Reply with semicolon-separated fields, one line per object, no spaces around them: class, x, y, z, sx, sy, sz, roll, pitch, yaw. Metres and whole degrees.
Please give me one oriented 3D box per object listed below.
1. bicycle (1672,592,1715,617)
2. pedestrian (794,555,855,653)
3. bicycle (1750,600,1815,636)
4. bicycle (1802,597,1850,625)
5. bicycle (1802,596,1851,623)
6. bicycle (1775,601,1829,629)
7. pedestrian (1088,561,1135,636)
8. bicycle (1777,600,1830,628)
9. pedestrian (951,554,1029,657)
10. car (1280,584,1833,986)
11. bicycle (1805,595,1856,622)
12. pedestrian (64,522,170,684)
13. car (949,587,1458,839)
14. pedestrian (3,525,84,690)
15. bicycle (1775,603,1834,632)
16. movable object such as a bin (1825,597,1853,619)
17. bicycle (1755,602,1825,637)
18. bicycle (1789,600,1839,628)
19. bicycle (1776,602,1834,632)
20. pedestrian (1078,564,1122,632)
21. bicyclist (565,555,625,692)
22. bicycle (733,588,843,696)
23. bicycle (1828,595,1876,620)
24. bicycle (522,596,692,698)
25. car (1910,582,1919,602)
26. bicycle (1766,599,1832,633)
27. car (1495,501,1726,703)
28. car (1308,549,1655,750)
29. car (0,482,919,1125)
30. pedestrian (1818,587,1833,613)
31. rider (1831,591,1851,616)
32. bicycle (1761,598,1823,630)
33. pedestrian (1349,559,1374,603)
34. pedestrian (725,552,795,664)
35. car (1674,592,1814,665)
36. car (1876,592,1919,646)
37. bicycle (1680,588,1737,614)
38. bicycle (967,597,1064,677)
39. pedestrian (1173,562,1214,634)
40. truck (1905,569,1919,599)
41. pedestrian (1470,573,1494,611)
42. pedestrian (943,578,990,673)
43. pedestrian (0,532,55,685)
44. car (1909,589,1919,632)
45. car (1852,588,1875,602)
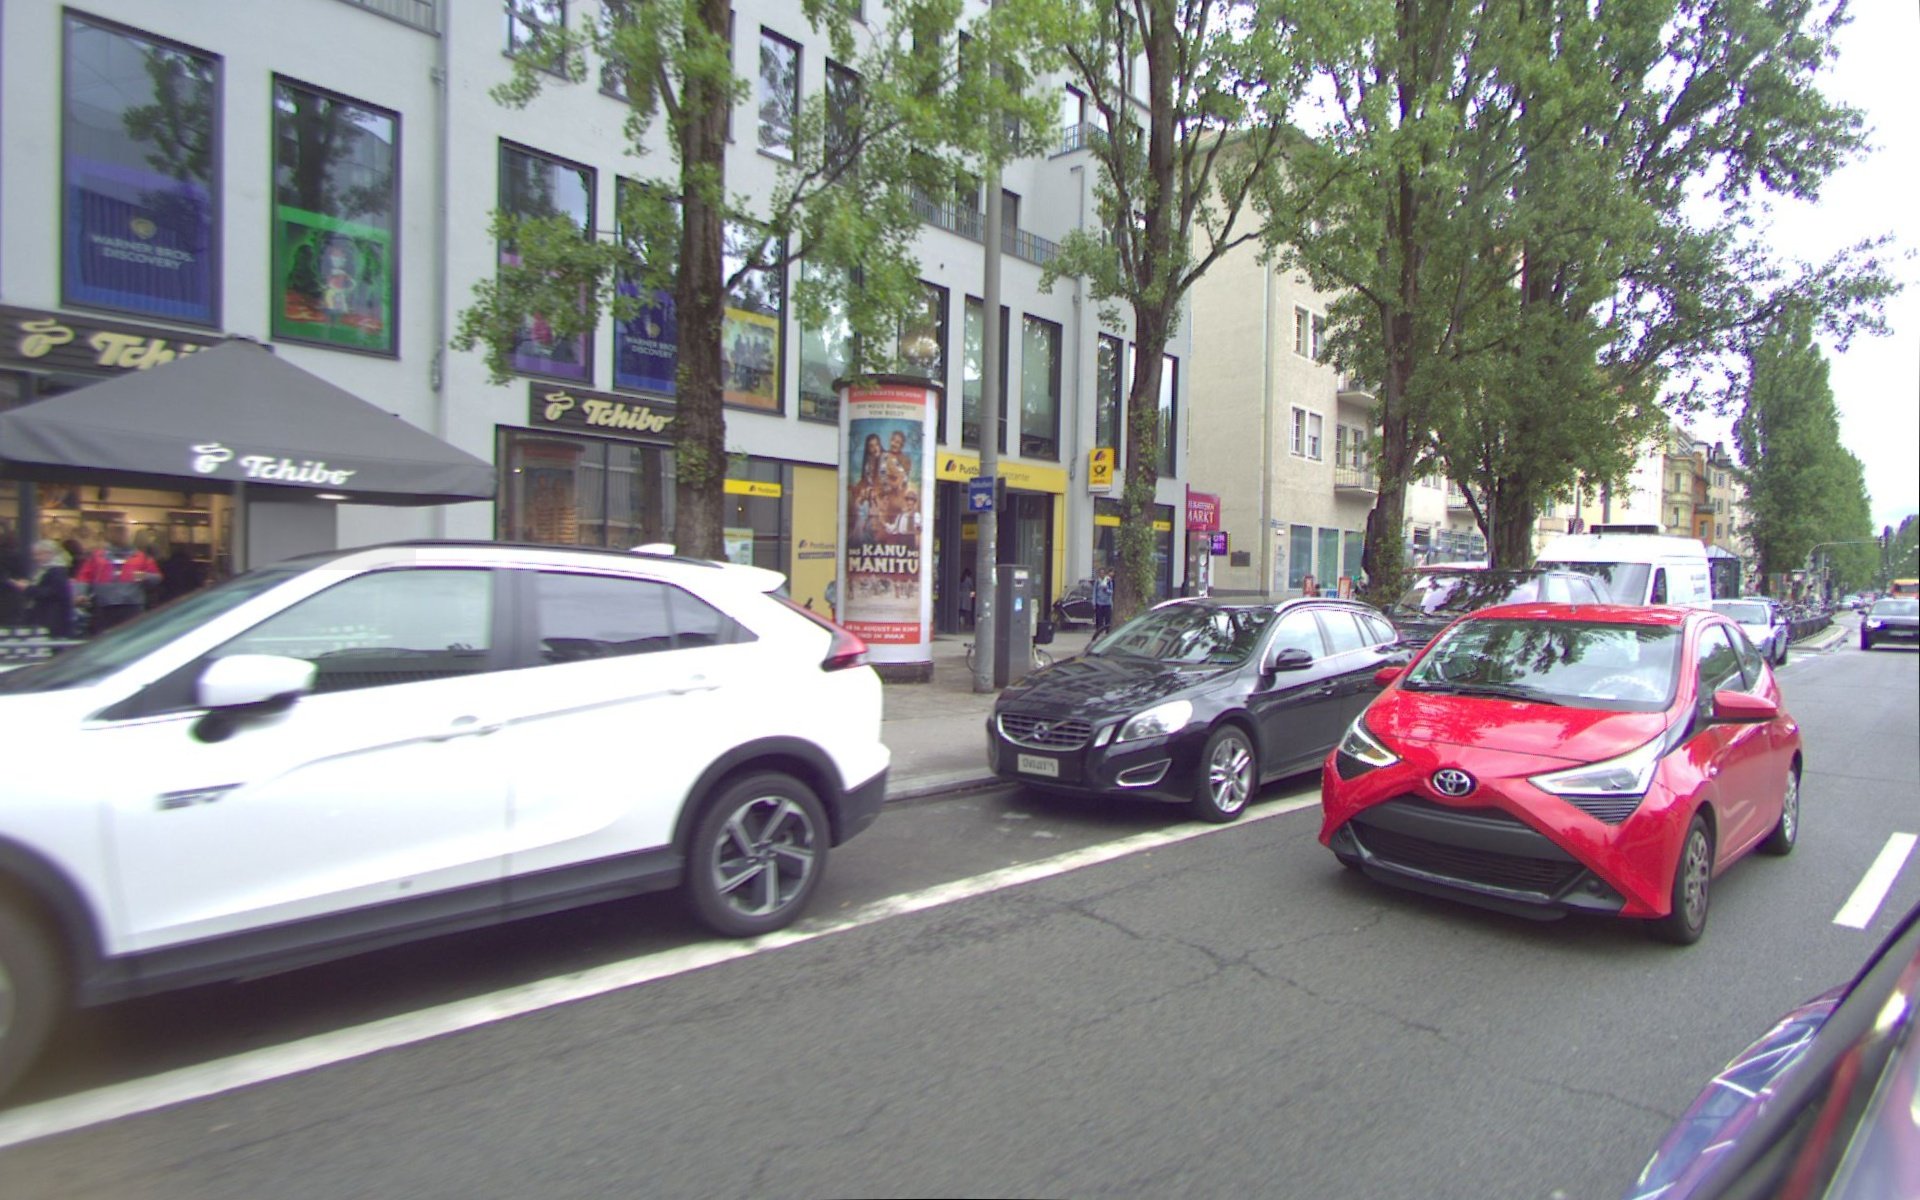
bicycle;34.286;0.227;47.311;1.726;1.091;0.411;2;2;-5
pedestrian;-2.281;0.053;17.000;0.738;1.577;0.683;0;2;-44
bicycle;24.920;0.549;30.694;0.535;1.068;1.577;0;-2;-8
bicycle;37.369;0.444;43.681;0.480;1.151;1.796;0;1;-2
bicycle;38.762;0.405;45.276;0.479;1.151;1.798;0;1;-7
bicycle;32.458;0.587;39.026;0.378;1.024;1.803;0;-2;-7
pedestrian;3.484;-0.038;23.283;0.691;1.669;0.785;3;2;44
bicycle;33.409;0.561;40.098;0.389;1.073;1.803;0;-2;-7
pedestrian;0.505;0.073;16.920;1.006;1.657;0.800;0;2;-44
car;3.435;0.657;5.567;3.535;1.464;1.667;-1;1;-42
bicycle;39.711;0.383;46.185;0.578;1.151;1.799;0;1;-10
pedestrian;-9.422;0.019;11.341;0.753;1.746;0.671;1;2;-25
car;2.153;0.637;8.030;4.494;1.451;1.773;0;0;-43
pedestrian;-9.121;0.061;10.087;0.559;1.586;0.492;0;2;-38
bicycle;30.087;0.638;36.070;0.378;1.024;1.803;0;-2;-7
movable object such as a bin;48.103;0.424;55.370;1.086;1.075;0.736;5;4;42
bicycle;26.168;0.614;31.940;0.535;1.068;1.803;0;-2;-8
bicycle;33.939;0.556;40.250;0.390;1.073;1.852;0;-2;-1
bicycle;30.467;0.627;36.531;0.378;1.024;1.803;0;-2;-7
pedestrian;3.371;-0.062;24.394;0.691;1.604;0.760;3;2;44
bicyclist;-4.049;0.239;11.212;0.432;1.466;0.640;0;2;-39
bicycle;-2.107;0.469;12.236;0.875;1.153;1.517;1;2;-28
bicycle;42.391;0.332;48.107;0.468;1.151;1.789;0;1;-11
bicycle;-4.071;0.504;11.752;1.772;1.076;0.591;0;2;-40
car;85.006;-0.713;89.133;1.854;1.726;3.937;4;3;43
bicycle;28.158;0.554;33.991;0.535;1.119;1.803;0;-2;-7
car;10.757;-0.033;16.524;5.463;2.776;1.995;-1;1;-44
car;6.068;0.423;11.496;4.696;1.827;1.932;0;1;-41
car;-2.377;0.516;4.002;4.333;1.707;1.730;0;1;-42
pedestrian;63.394;-0.030;74.137;0.727;1.823;0.702;2;3;35
rider;48.150;0.190;55.311;0.730;1.256;0.722;5;4;41
bicycle;29.600;0.521;36.044;0.535;1.119;1.803;0;-2;-7
pedestrian;15.703;-0.752;39.546;0.752;1.671;0.601;0;2;-44
pedestrian;-2.952;0.101;14.900;0.738;1.577;0.683;0;2;-44
car;17.326;0.564;22.295;4.076;1.472;1.727;0;0;-42
car;28.362;0.537;30.008;1.735;1.488;3.989;2;1;42
bicycle;39.481;0.034;53.388;0.617;1.242;2.328;0;2;-43
bicycle;0.787;0.513;14.582;1.296;1.036;0.564;3;3;37
pedestrian;5.862;-0.064;25.419;0.725;1.745;0.723;1;2;-8
truck;119.225;-1.980;125.636;2.535;3.531;7.628;3;3;44
pedestrian;21.929;-0.333;42.519;0.717;1.547;0.677;0;2;-44
pedestrian;0.101;0.358;14.847;0.590;1.358;0.388;0;1;24
pedestrian;-10.187;0.072;10.757;0.558;1.595;0.672;2;2;22
car;41.825;0.435;43.082;1.994;1.771;3.936;1;1;44
car;113.574;-0.667;127.239;1.994;1.660;3.936;3;2;44
